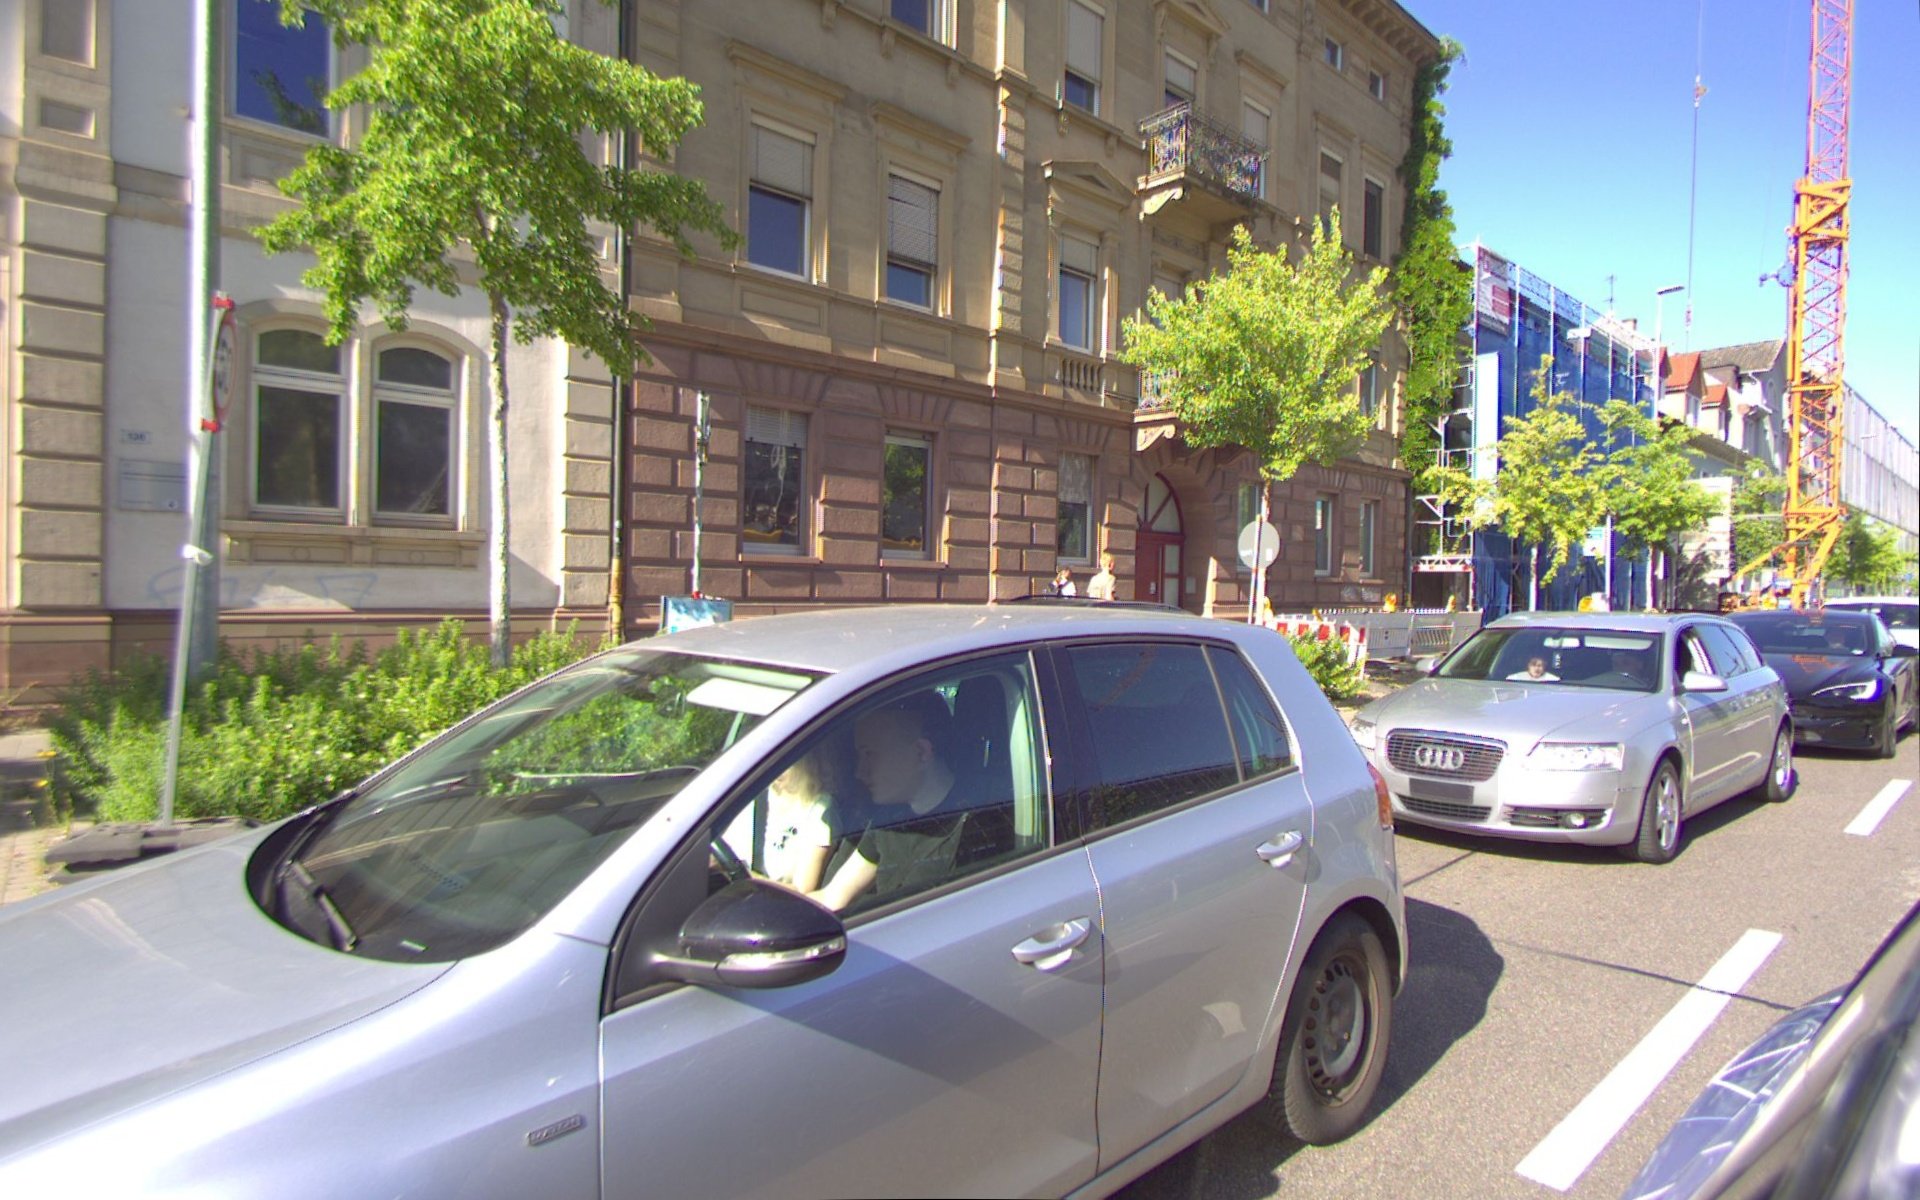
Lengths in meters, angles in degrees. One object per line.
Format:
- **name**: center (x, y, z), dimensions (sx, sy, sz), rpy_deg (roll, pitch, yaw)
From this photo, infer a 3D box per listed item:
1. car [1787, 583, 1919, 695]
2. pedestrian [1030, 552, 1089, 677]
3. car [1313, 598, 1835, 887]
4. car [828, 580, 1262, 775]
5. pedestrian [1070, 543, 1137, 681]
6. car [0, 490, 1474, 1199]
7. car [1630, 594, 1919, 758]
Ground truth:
- **car**: center (15.237, 0.582, 16.620), dimensions (3.930, 1.654, 1.932), rpy_deg (0, 0, -41)
- **pedestrian**: center (1.530, 0.214, 15.538), dimensions (0.577, 1.843, 0.564), rpy_deg (1, 3, -41)
- **car**: center (4.651, 0.729, 7.317), dimensions (4.751, 1.445, 1.751), rpy_deg (0, 0, -39)
- **car**: center (1.058, 0.624, 10.360), dimensions (4.619, 1.493, 1.651), rpy_deg (0, 4, -42)
- **pedestrian**: center (2.098, 0.160, 14.837), dimensions (0.577, 1.936, 0.660), rpy_deg (1, 3, -41)
- **car**: center (-0.451, 0.665, 2.549), dimensions (3.934, 1.547, 1.753), rpy_deg (0, 0, -40)
- **car**: center (9.337, 0.685, 11.263), dimensions (4.445, 1.462, 2.054), rpy_deg (0, 0, -41)
